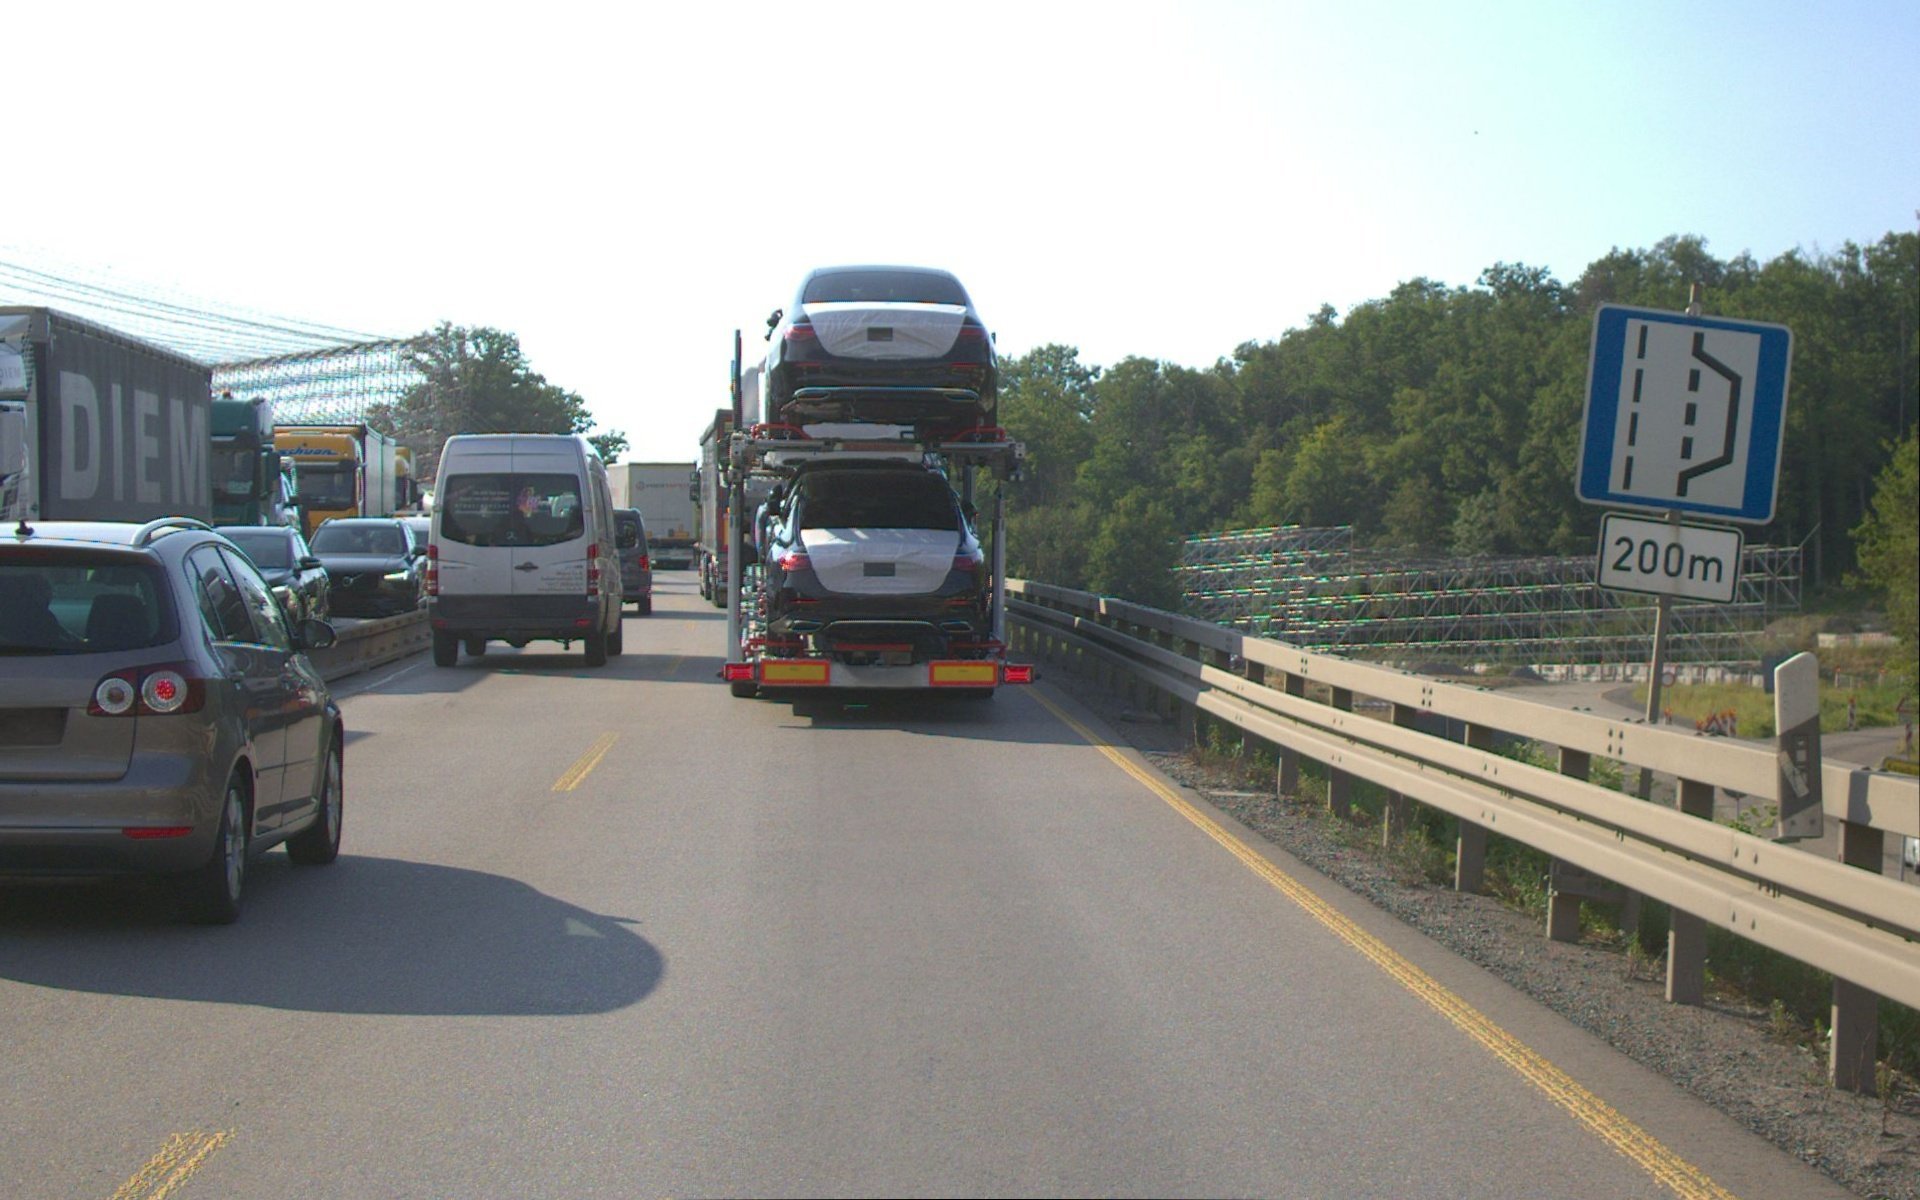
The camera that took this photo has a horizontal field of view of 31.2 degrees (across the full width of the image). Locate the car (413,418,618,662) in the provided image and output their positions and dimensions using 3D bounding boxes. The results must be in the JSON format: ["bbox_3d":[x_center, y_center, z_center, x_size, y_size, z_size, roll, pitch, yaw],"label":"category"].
[{"bbox_3d":[-5.103,-0.676,39.978,1.979,2.675,4.147,0,0,-2],"label":"car"}]

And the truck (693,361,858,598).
[{"bbox_3d":[-4.040,-2.563,73.836,3.228,4.661,11.697,0,2,-4],"label":"truck"}]

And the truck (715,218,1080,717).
[{"bbox_3d":[-0.699,-1.079,30.283,2.869,3.966,5.772,0,0,-4],"label":"truck"}]

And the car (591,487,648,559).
[{"bbox_3d":[-10.209,-2.294,103.232,1.528,2.007,4.001,2,0,-4],"label":"car"}]

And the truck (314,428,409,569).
[{"bbox_3d":[-18.185,-3.049,104.606,2.693,4.182,4.399,0,0,-8],"label":"truck"}]

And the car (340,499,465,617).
[{"bbox_3d":[-9.832,-0.728,60.924,1.823,1.927,5.131,-3,0,-6],"label":"car"}]

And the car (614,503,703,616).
[{"bbox_3d":[-5.681,-0.750,65.163,1.528,2.007,4.000,2,0,-4],"label":"car"}]

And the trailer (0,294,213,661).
[{"bbox_3d":[-12.017,-1.452,44.699,2.714,4.108,12.494,-1,1,-4],"label":"trailer"}]

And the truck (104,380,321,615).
[{"bbox_3d":[-12.922,-1.741,59.942,2.748,3.792,7.113,-1,1,-5],"label":"truck"}]

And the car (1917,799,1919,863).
[{"bbox_3d":[23.177,5.484,79.689,1.526,1.456,4.266,0,0,10],"label":"car"}]

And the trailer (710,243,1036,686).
[{"bbox_3d":[-1.329,-1.274,38.600,2.874,3.980,15.282,0,0,-4],"label":"trailer"}]

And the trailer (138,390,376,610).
[{"bbox_3d":[-13.656,-1.873,68.159,2.748,3.802,16.050,-1,1,-5],"label":"trailer"}]

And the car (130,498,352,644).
[{"bbox_3d":[-8.662,-0.360,41.849,1.876,1.600,5.369,-2,1,-4],"label":"car"}]

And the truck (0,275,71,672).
[{"bbox_3d":[-11.383,-1.307,36.786,2.748,4.101,5.032,-1,1,-5],"label":"truck"}]

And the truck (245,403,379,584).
[{"bbox_3d":[-15.305,-2.458,81.497,2.700,4.126,5.795,0,0,-7],"label":"truck"}]

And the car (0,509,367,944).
[{"bbox_3d":[-3.666,0.449,14.589,1.700,1.581,4.147,0,0,-2],"label":"car"}]

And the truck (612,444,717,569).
[{"bbox_3d":[-11.446,-3.679,134.224,3.648,4.661,11.697,0,2,-3],"label":"truck"}]

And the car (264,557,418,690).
[{"bbox_3d":[-9.548,0.347,53.357,1.832,1.957,4.900,0,0,-4],"label":"car"}]
